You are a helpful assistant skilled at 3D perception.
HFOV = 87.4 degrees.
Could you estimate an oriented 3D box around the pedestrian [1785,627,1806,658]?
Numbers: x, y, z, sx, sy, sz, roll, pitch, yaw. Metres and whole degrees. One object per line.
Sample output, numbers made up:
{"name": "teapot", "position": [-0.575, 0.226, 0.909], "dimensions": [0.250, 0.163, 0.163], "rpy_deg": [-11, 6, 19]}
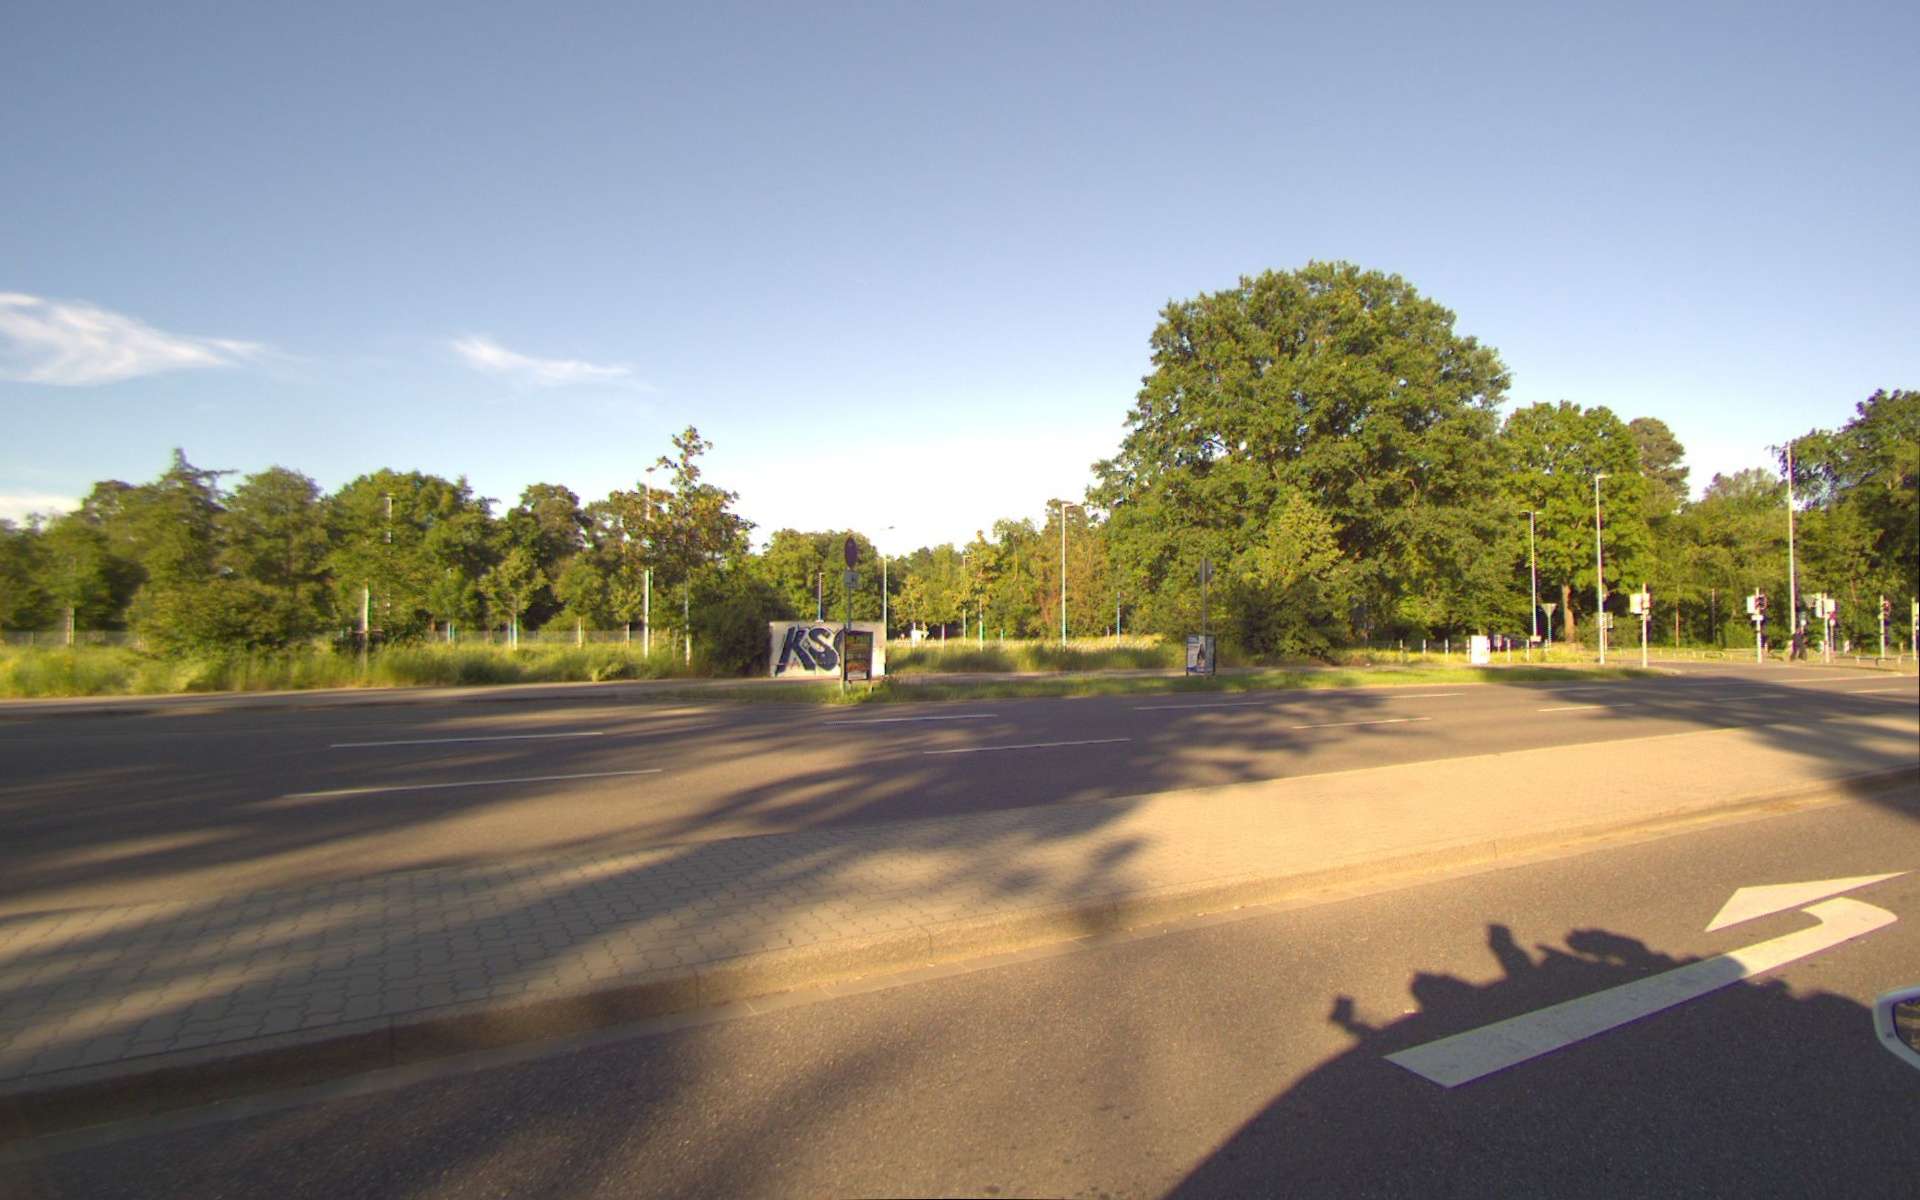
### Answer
{"name": "pedestrian", "position": [42.801, 2.198, 51.467], "dimensions": [0.636, 1.580, 0.539], "rpy_deg": [-1, -2, 19]}

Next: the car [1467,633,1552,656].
{"name": "car", "position": [37.598, 3.040, 68.844], "dimensions": [1.977, 1.517, 4.752], "rpy_deg": [1, -3, -30]}
